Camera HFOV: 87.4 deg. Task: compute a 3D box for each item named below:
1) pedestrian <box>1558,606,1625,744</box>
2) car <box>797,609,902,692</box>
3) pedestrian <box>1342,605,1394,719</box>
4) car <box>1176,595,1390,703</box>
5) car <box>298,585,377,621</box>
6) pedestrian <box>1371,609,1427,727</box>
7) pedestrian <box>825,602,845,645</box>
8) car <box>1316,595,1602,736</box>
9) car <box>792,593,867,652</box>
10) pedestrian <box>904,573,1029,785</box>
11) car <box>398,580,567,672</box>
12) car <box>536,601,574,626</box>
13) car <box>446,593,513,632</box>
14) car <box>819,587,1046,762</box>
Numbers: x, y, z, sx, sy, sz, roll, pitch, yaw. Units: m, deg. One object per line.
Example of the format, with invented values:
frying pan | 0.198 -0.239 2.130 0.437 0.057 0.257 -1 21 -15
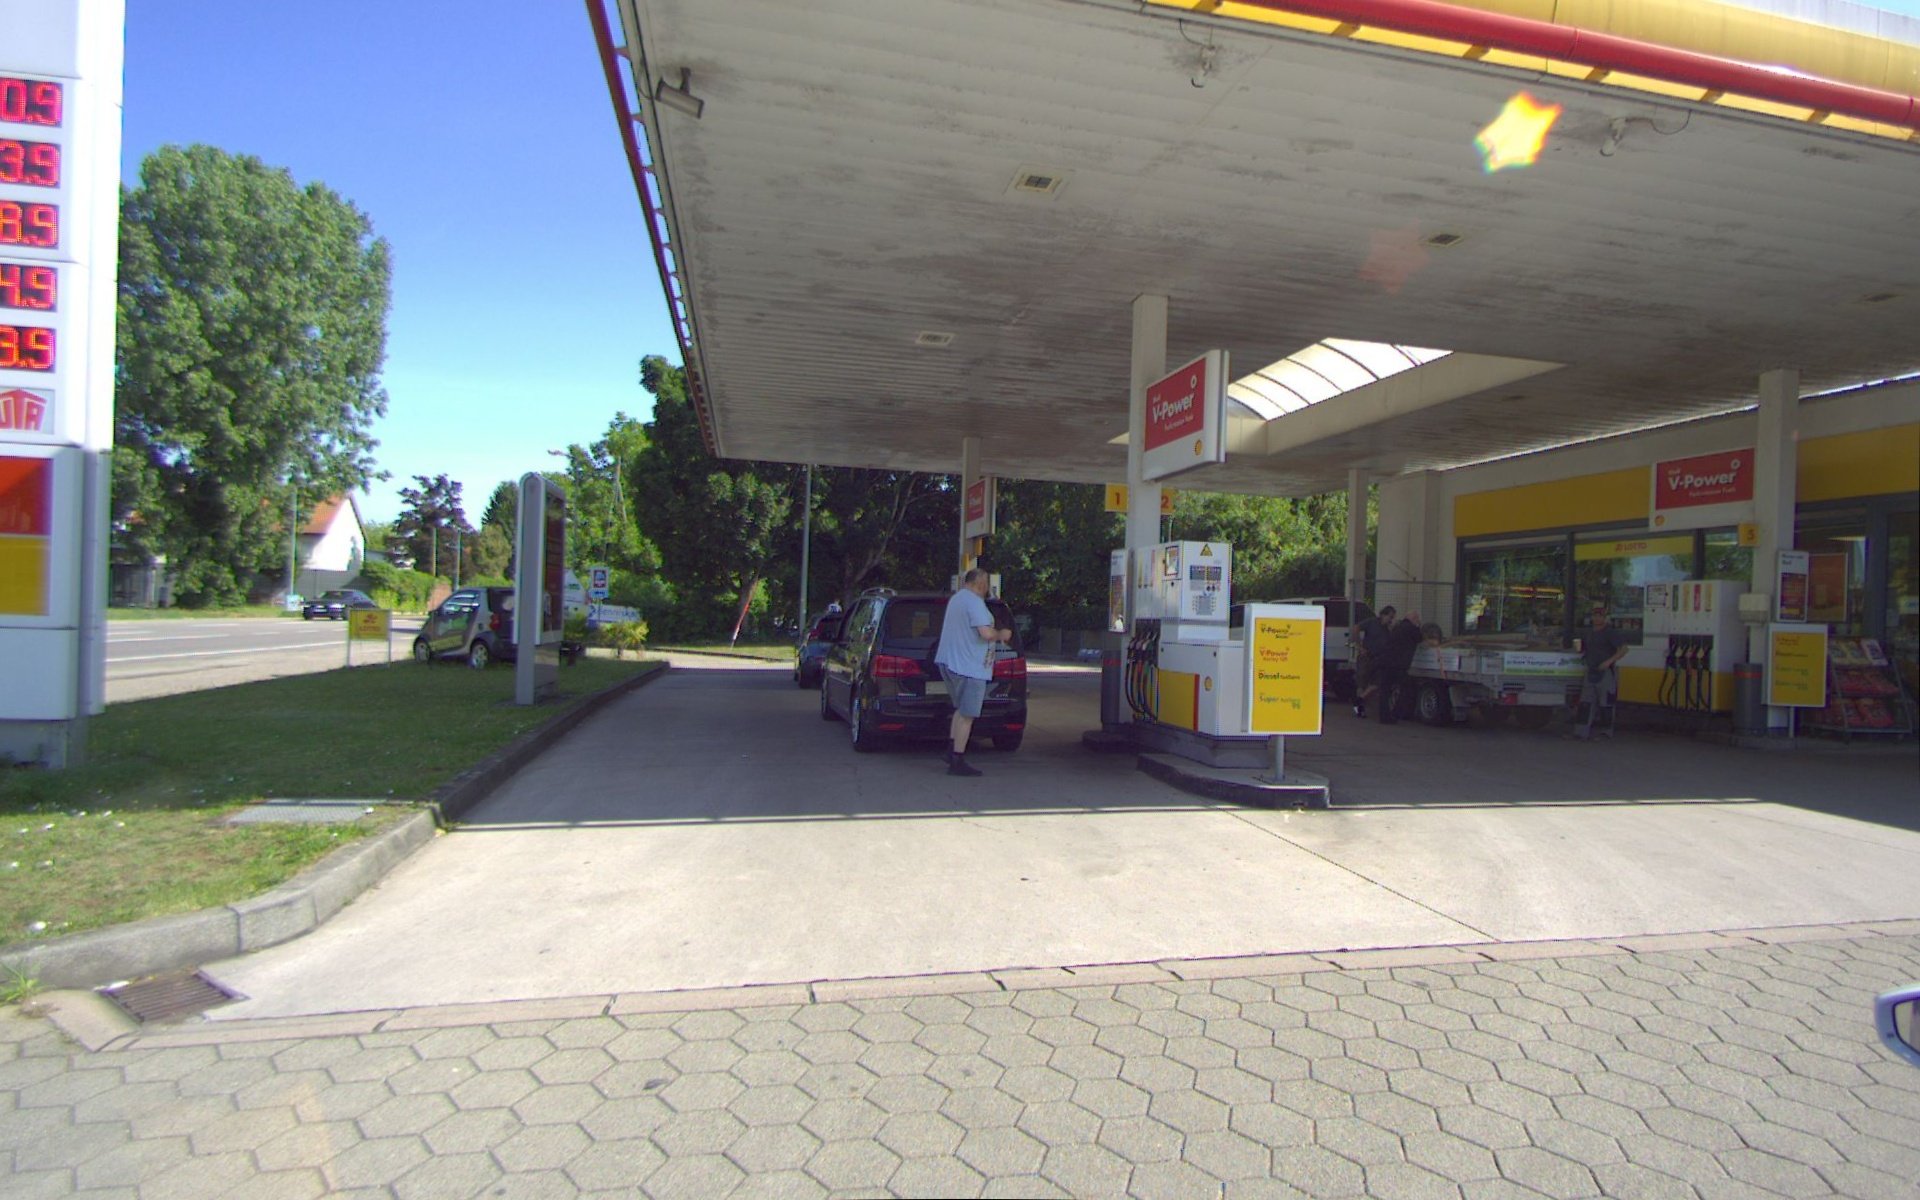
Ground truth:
pedestrian | 7.964 0.934 12.684 0.467 1.690 0.500 2 -1 -11
car | -2.225 0.909 19.372 1.771 1.378 3.842 2 -1 -9
pedestrian | 6.058 0.907 14.921 0.491 1.653 0.475 2 -1 -9
car | 6.252 0.895 20.116 1.826 1.862 4.768 2 -1 -14
car | -29.221 0.175 47.285 1.796 1.477 3.991 4 -2 -12
pedestrian | 6.126 0.940 14.035 0.491 1.614 0.475 2 -1 -9
pedestrian | -4.683 0.884 37.587 0.665 1.557 0.393 2 -1 -8
car | 7.111 0.888 14.825 1.800 1.750 3.995 2 -2 -8
car | -4.579 0.771 34.750 1.967 1.788 3.988 4 -2 -15
pedestrian | 0.055 0.657 8.813 0.801 1.752 0.670 1 -1 44
car | -8.884 0.483 18.685 2.683 1.550 1.575 2 -3 32
car | -26.735 0.891 66.415 1.624 1.449 4.045 5 -1 -13
car | -22.501 0.583 47.211 1.783 1.670 4.298 4 -1 -12
car | -0.497 0.730 11.261 1.735 1.599 3.867 2 -1 -14
